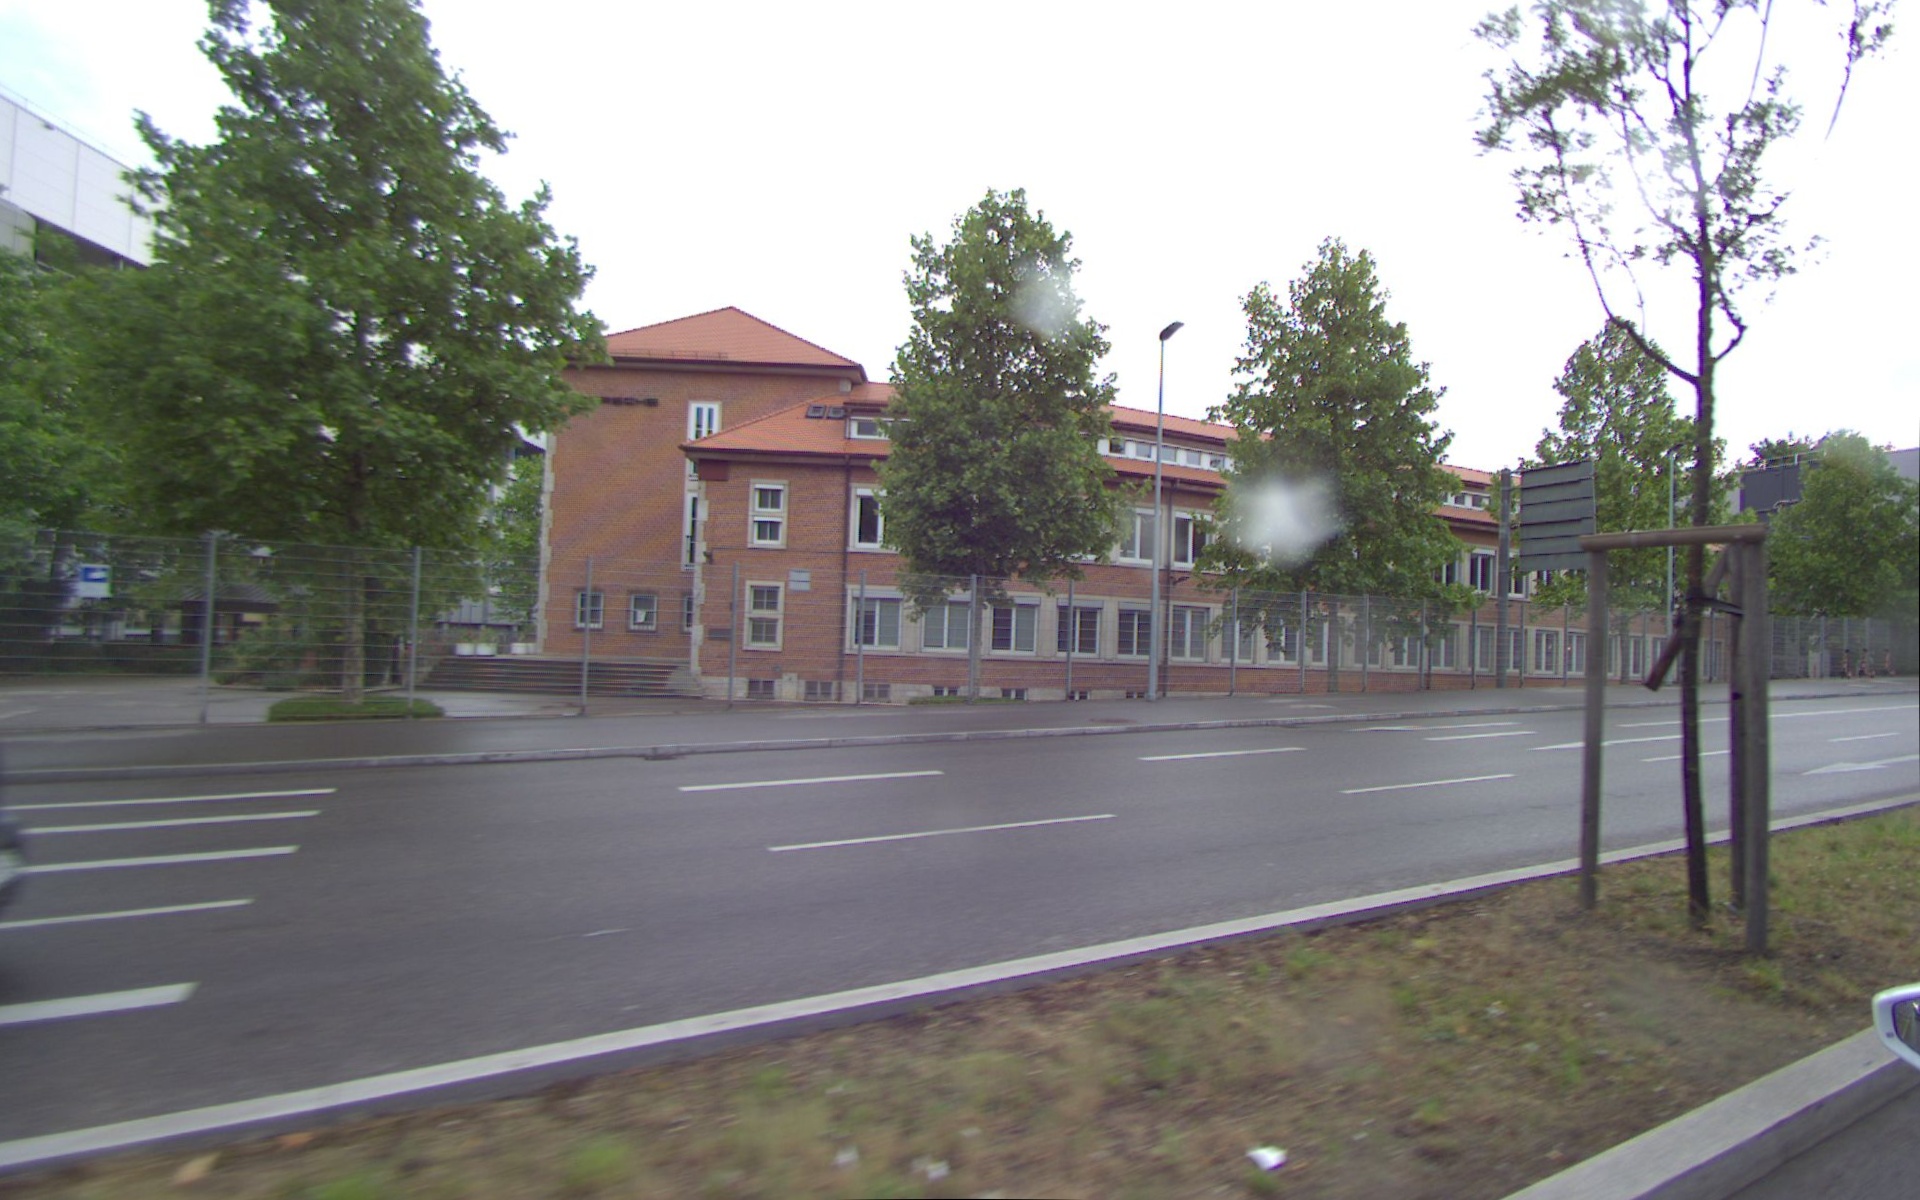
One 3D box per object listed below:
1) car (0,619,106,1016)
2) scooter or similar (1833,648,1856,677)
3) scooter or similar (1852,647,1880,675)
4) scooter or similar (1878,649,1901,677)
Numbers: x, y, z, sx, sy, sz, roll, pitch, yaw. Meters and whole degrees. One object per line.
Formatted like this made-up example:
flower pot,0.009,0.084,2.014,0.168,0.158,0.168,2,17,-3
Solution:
car,-5.423,0.734,3.021,4.063,1.422,1.570,2,-3,-30
scooter or similar,37.659,2.653,42.765,1.292,1.234,0.310,1,-2,-31
scooter or similar,39.683,2.664,44.004,1.287,1.234,0.311,1,-2,-19
scooter or similar,41.876,2.835,45.249,1.290,1.234,0.310,1,-2,-26
